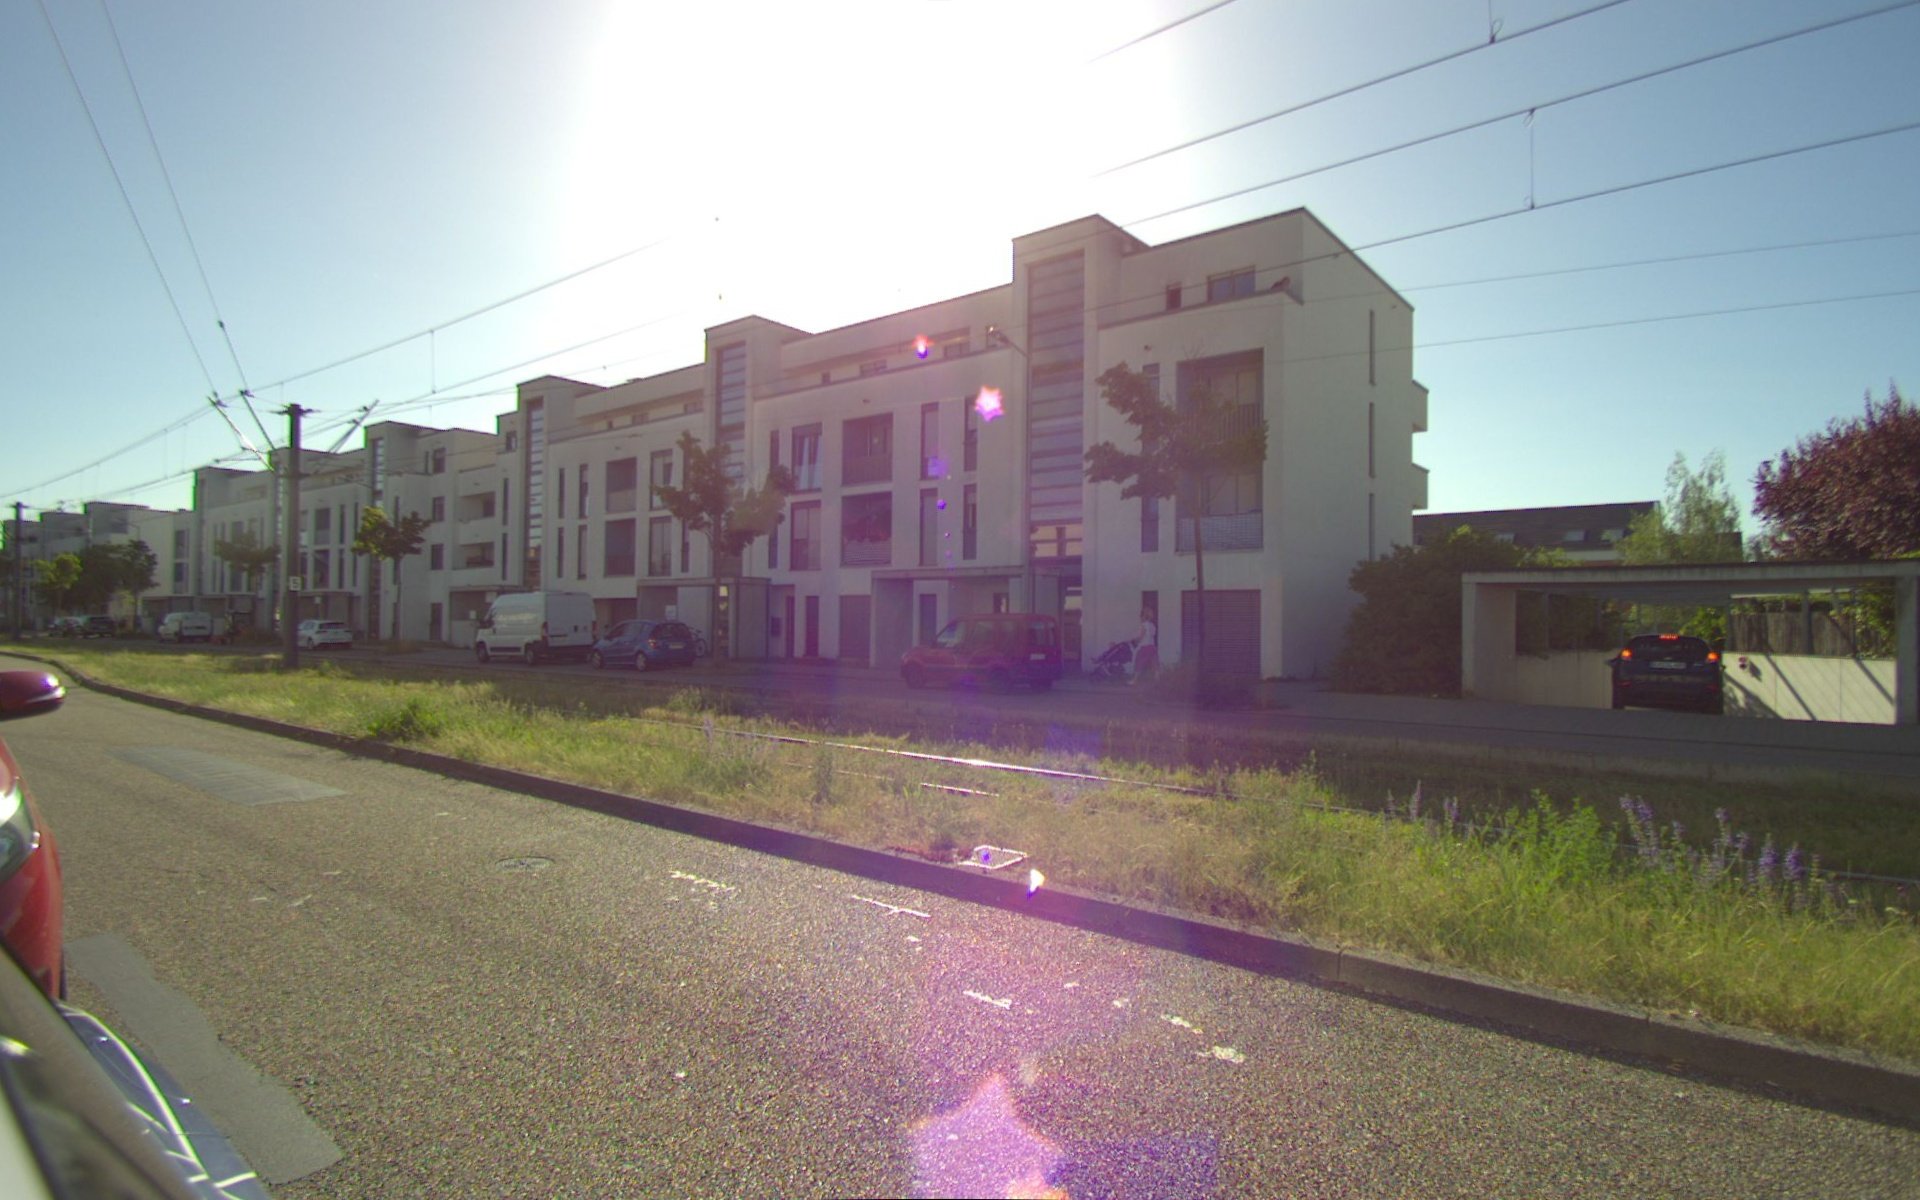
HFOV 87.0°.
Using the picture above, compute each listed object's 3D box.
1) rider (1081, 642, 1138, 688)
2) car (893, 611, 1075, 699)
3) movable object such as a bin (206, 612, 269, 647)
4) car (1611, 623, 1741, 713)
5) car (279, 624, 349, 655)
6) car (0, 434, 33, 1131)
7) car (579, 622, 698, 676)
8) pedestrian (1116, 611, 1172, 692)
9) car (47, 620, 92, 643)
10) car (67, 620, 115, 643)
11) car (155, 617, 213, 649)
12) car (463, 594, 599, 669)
[{"bbox_3d":[3.463,1.492,23.486,0.769,1.010,1.046,0,-1,-44],"label":"rider"},{"bbox_3d":[0.499,1.192,23.000,3.836,1.809,1.861,-1,-1,42],"label":"car"},{"bbox_3d":[-41.090,1.662,57.510,4.149,1.952,1.745,-1,-1,37],"label":"movable object such as a bin"},{"bbox_3d":[13.459,1.189,18.943,1.707,1.441,3.690,1,0,40],"label":"car"},{"bbox_3d":[-31.193,1.879,48.828,4.149,1.443,1.503,-1,-1,37],"label":"car"},{"bbox_3d":[-5.225,0.561,3.878,5.203,1.948,1.954,-1,0,42],"label":"car"},{"bbox_3d":[-10.075,1.484,31.643,3.840,1.548,1.805,-1,-1,41],"label":"car"},{"bbox_3d":[4.141,1.144,22.772,0.806,1.761,0.910,0,-1,-44],"label":"pedestrian"},{"bbox_3d":[-67.565,2.373,76.779,4.149,1.611,1.745,-1,-1,37],"label":"car"},{"bbox_3d":[-63.045,2.271,73.408,4.149,1.611,1.745,-1,-1,37],"label":"car"},{"bbox_3d":[-47.272,1.975,61.603,4.149,1.884,1.745,-1,-1,37],"label":"car"},{"bbox_3d":[-15.351,1.093,36.058,5.583,2.463,2.119,-1,-1,39],"label":"car"}]
